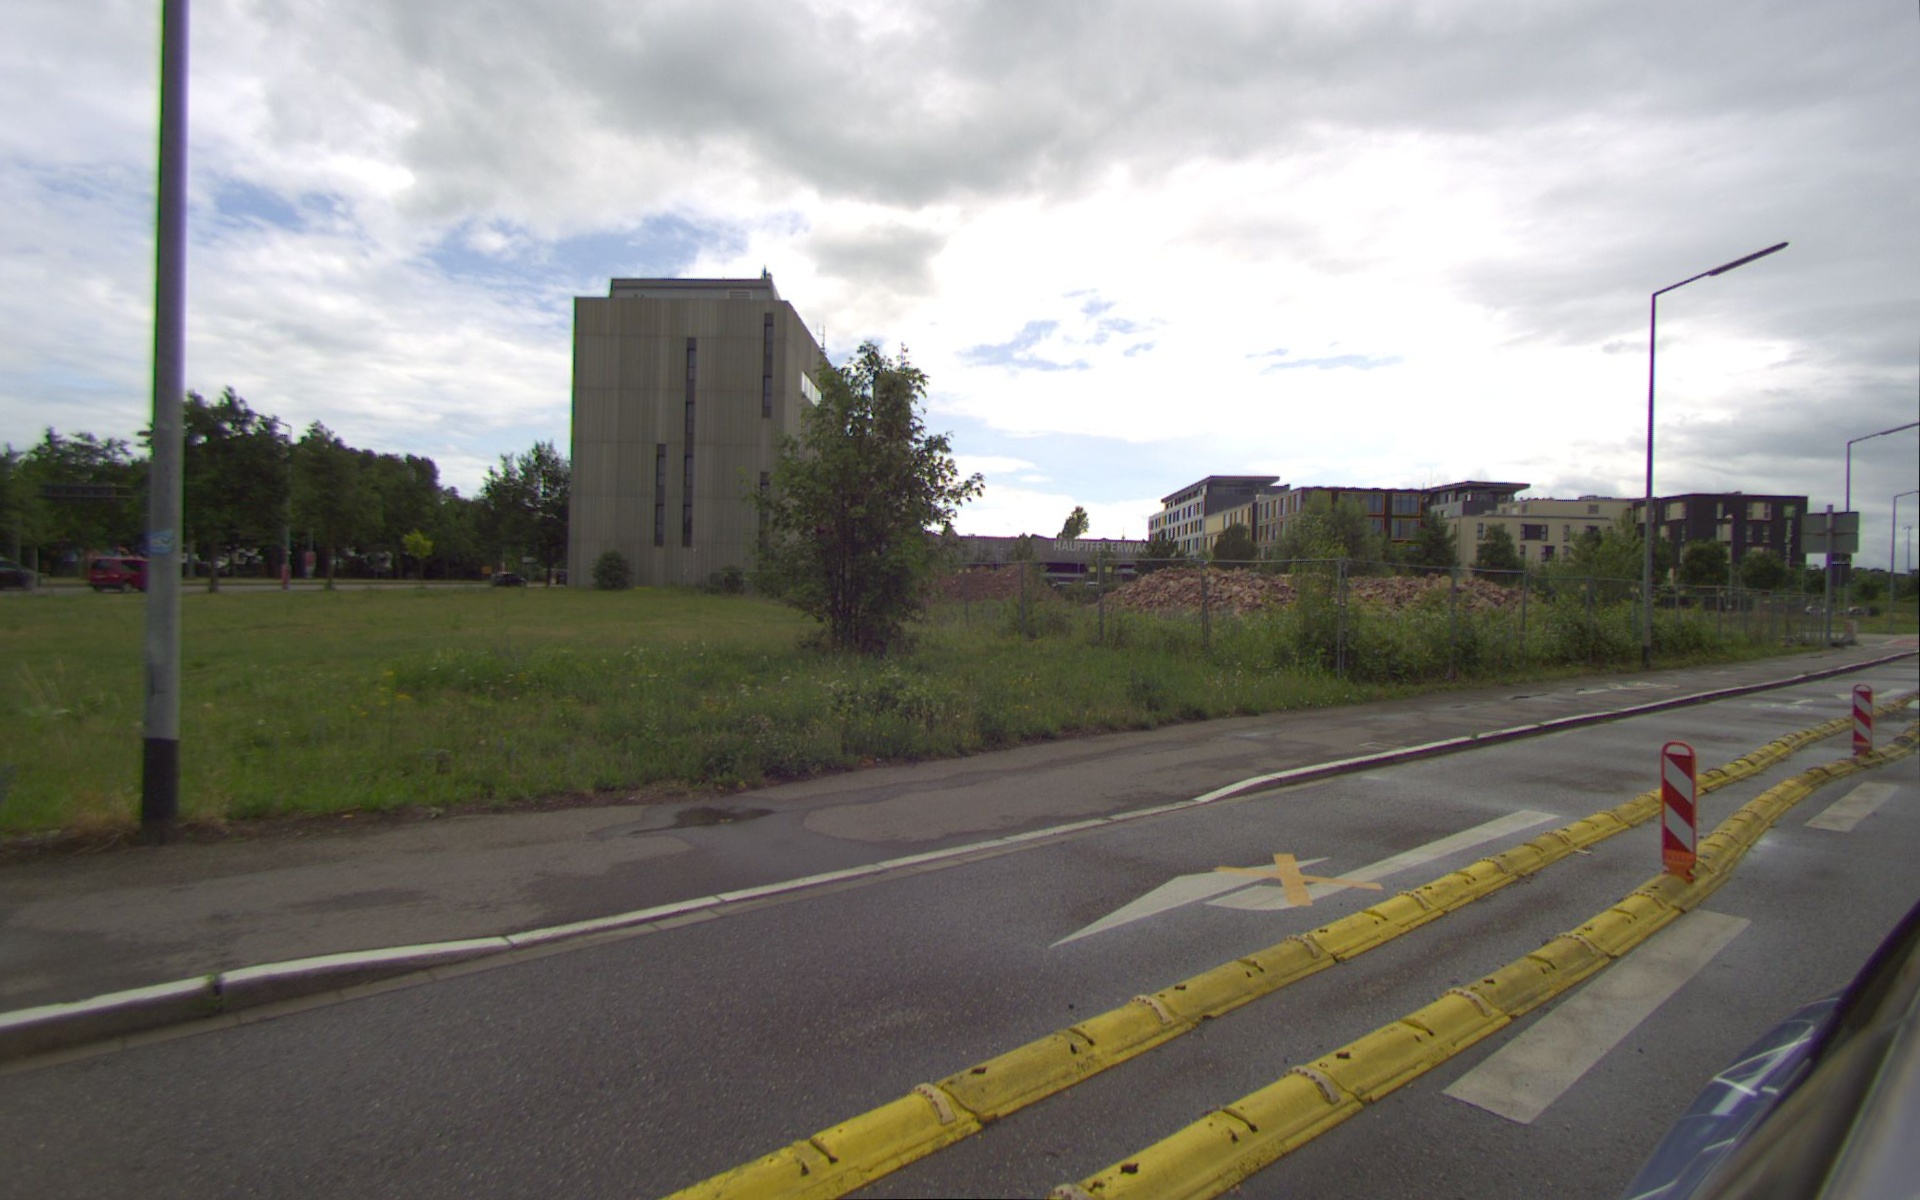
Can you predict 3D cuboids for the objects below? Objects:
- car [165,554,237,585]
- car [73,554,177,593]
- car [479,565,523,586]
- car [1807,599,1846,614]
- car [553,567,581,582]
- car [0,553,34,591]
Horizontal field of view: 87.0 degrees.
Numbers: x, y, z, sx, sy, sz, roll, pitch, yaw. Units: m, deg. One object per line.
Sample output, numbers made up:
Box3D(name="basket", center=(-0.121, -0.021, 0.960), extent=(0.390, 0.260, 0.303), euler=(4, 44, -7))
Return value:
Box3D(name="car", center=(-52.401, -2.100, 69.950), extent=(1.962, 2.039, 4.000), euler=(1, 1, 0))
Box3D(name="car", center=(-44.547, -1.415, 54.113), extent=(2.075, 1.941, 4.209), euler=(1, 1, -1))
Box3D(name="car", center=(-41.305, -2.174, 91.144), extent=(2.038, 1.836, 4.209), euler=(1, 1, -1))
Box3D(name="car", center=(126.260, 0.920, 147.468), extent=(3.925, 2.039, 2.000), euler=(2, 1, 1))
Box3D(name="car", center=(-47.825, -3.059, 123.213), extent=(1.827, 1.804, 4.002), euler=(1, 1, -1))
Box3D(name="car", center=(-47.665, -1.387, 48.587), extent=(2.077, 1.818, 4.606), euler=(1, 1, 3))
